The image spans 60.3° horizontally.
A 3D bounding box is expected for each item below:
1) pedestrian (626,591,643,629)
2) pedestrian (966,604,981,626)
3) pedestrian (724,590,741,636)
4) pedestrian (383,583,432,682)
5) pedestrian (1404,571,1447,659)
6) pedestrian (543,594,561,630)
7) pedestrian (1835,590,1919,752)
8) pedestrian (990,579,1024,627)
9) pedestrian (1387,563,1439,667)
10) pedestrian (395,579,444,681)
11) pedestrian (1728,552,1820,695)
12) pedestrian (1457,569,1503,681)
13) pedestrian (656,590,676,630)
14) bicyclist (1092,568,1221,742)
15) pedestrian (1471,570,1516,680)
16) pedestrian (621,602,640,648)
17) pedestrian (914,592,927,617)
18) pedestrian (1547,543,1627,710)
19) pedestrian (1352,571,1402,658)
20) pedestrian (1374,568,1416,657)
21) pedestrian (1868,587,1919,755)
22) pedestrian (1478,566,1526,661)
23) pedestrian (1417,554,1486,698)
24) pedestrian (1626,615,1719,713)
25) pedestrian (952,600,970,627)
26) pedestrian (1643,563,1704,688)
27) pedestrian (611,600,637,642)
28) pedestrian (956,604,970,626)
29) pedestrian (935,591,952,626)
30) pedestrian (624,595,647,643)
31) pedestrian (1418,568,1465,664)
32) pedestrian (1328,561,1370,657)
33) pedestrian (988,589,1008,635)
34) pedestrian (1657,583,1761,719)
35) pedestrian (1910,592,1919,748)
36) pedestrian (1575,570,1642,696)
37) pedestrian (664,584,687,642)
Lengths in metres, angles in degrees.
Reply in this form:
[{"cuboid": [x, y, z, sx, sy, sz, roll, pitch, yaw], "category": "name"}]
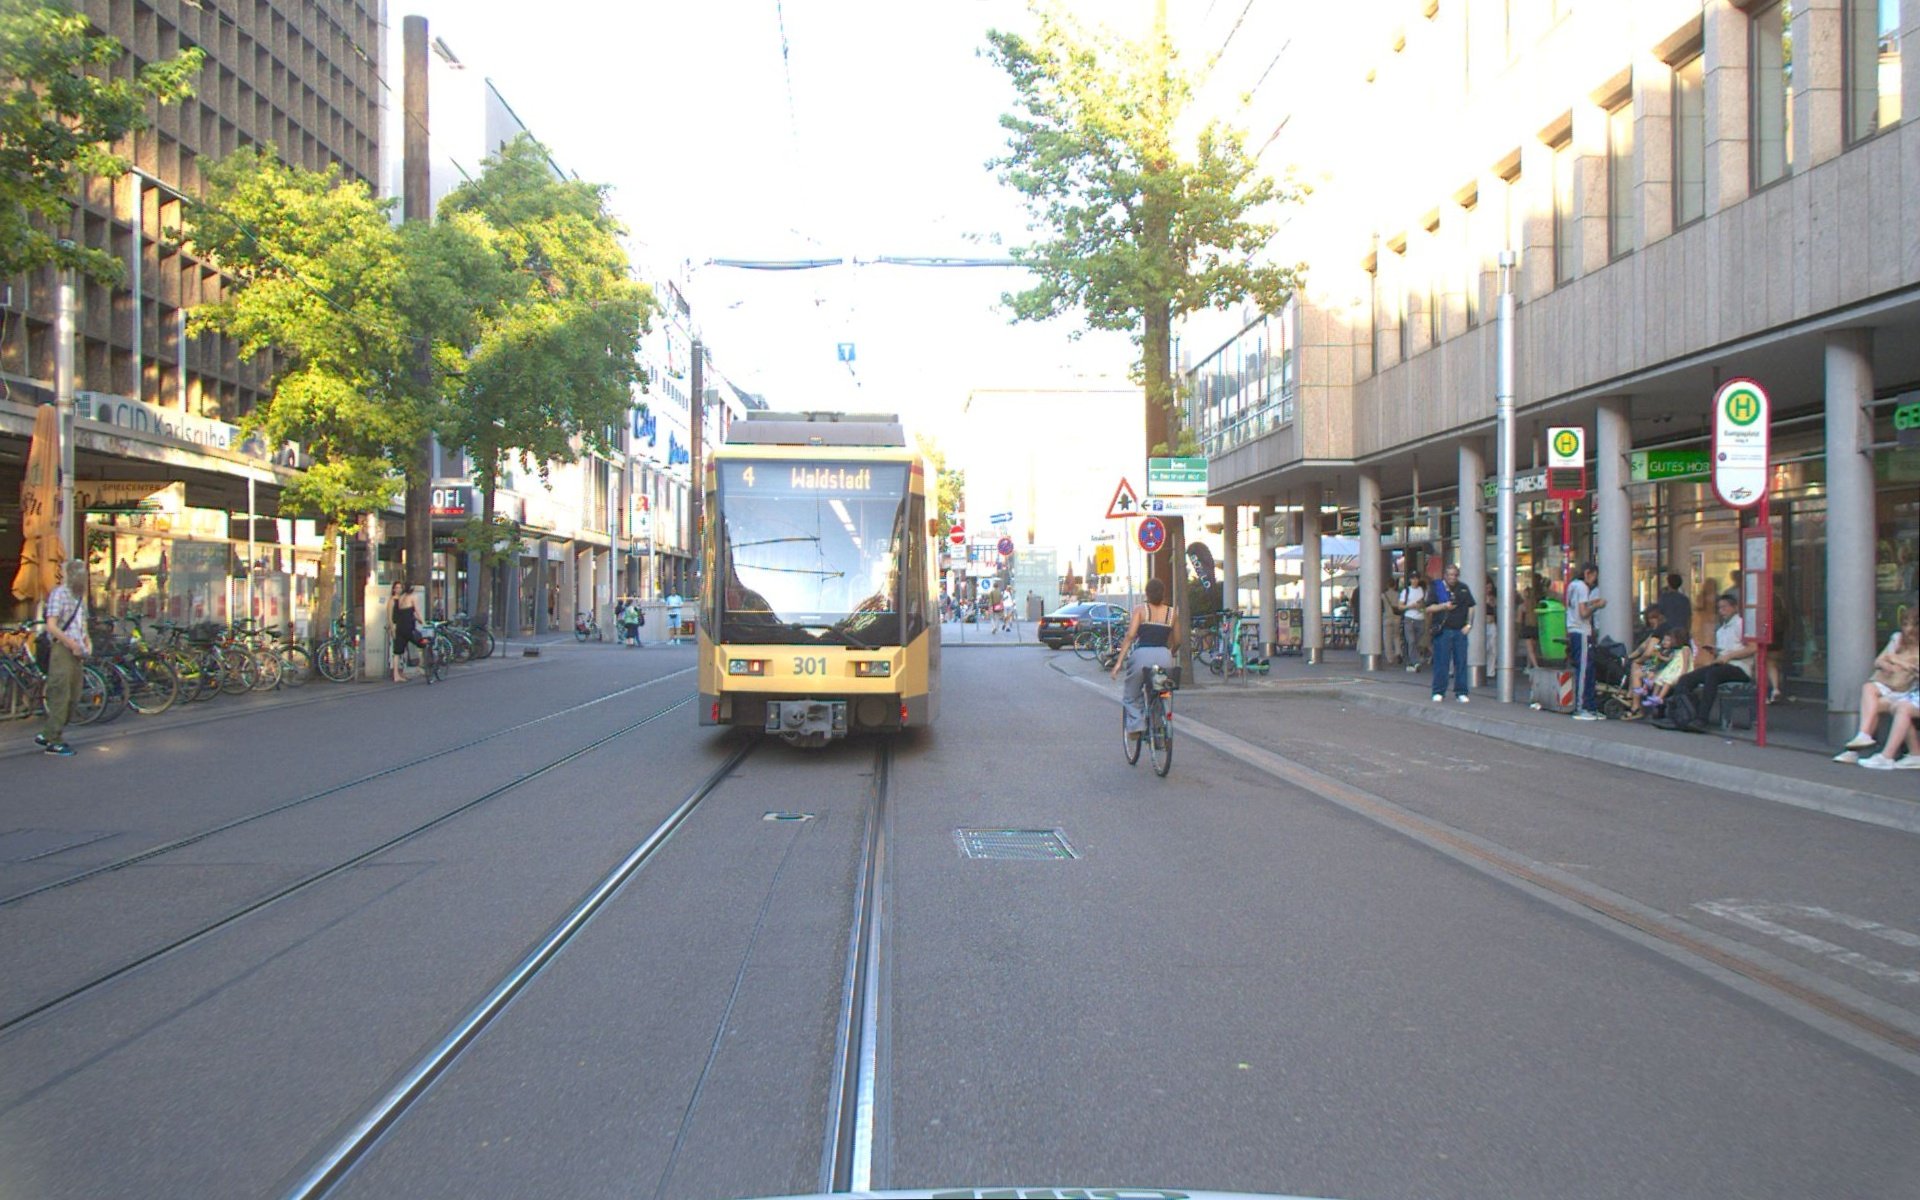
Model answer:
[{"cuboid": [-15.151, 0.459, 77.021, 0.699, 1.756, 0.709, 0, -1, -4], "category": "pedestrian"}, {"cuboid": [0.785, 0.846, 93.684, 0.777, 1.243, 0.768, 0, 0, -6], "category": "pedestrian"}, {"cuboid": [-9.701, 0.561, 70.418, 0.700, 1.959, 0.708, 0, -1, -7], "category": "pedestrian"}, {"cuboid": [-9.738, 0.564, 29.161, 0.589, 1.729, 0.535, 1, 0, 27], "category": "pedestrian"}, {"cuboid": [9.731, 0.317, 34.558, 0.649, 1.818, 0.719, -1, -1, -2], "category": "pedestrian"}, {"cuboid": [-19.568, 0.580, 79.307, 0.699, 1.756, 0.709, 0, -1, -4], "category": "pedestrian"}, {"cuboid": [7.876, 0.592, 13.949, 0.703, 1.337, 0.532, 1, -1, -1], "category": "pedestrian"}, {"cuboid": [1.921, 0.125, 67.531, 1.004, 1.896, 1.031, 1, -1, -32], "category": "pedestrian"}, {"cuboid": [8.303, 0.279, 30.314, 0.655, 1.872, 0.879, -1, -1, -2], "category": "pedestrian"}, {"cuboid": [-9.364, 0.510, 28.684, 0.589, 1.729, 0.535, 1, 0, 27], "category": "pedestrian"}, {"cuboid": [10.492, 0.298, 21.349, 0.757, 1.803, 0.773, -1, -1, -3], "category": "pedestrian"}, {"cuboid": [8.718, 0.416, 27.760, 0.528, 1.838, 0.604, -1, 0, -3], "category": "pedestrian"}, {"cuboid": [-12.962, 0.459, 72.899, 0.595, 1.756, 0.624, -1, -2, 44], "category": "pedestrian"}, {"cuboid": [1.790, 0.490, 15.162, 0.978, 1.528, 0.856, 2, 0, -6], "category": "bicyclist"}, {"cuboid": [9.069, 0.422, 28.130, 0.528, 1.838, 0.604, -1, 0, -3], "category": "pedestrian"}, {"cuboid": [-10.754, 0.818, 54.027, 0.592, 1.520, 0.554, 0, -1, -10], "category": "pedestrian"}, {"cuboid": [-2.613, 0.292, 110.320, 0.750, 1.690, 0.795, 0, 0, 10], "category": "pedestrian"}, {"cuboid": [7.185, 0.297, 18.978, 0.626, 1.872, 0.667, -1, -1, -1], "category": "pedestrian"}, {"cuboid": [8.495, 0.294, 33.695, 0.748, 1.749, 0.923, -1, -1, -1], "category": "pedestrian"}, {"cuboid": [9.044, 0.251, 34.411, 0.649, 1.818, 0.719, -1, -1, -2], "category": "pedestrian"}, {"cuboid": [7.864, 0.569, 13.414, 0.703, 1.337, 0.524, 1, -1, -1], "category": "pedestrian"}, {"cuboid": [10.453, 0.260, 31.904, 0.649, 1.818, 0.719, -1, -1, -2], "category": "pedestrian"}, {"cuboid": [6.528, 0.339, 21.976, 0.655, 1.872, 0.708, -1, -1, -3], "category": "pedestrian"}, {"cuboid": [7.907, 0.700, 18.367, 0.796, 1.061, 0.544, 1, -1, -1], "category": "pedestrian"}, {"cuboid": [0.057, 0.827, 98.690, 0.752, 1.606, 0.794, 0, 0, 27], "category": "pedestrian"}, {"cuboid": [10.294, 0.363, 23.877, 0.559, 1.762, 0.617, -1, 0, -3], "category": "pedestrian"}, {"cuboid": [-11.681, 0.719, 57.489, 0.544, 1.459, 0.682, -1, -1, 36], "category": "pedestrian"}, {"cuboid": [0.166, 0.844, 94.463, 0.777, 1.243, 0.768, 0, 0, -6], "category": "pedestrian"}, {"cuboid": [-0.915, 0.463, 90.470, 0.722, 1.855, 0.816, 0, 0, -17], "category": "pedestrian"}, {"cuboid": [-10.776, 0.632, 54.874, 0.670, 1.569, 0.605, 0, -1, -4], "category": "pedestrian"}, {"cuboid": [9.300, 0.313, 31.955, 0.649, 1.818, 0.719, -1, -1, -2], "category": "pedestrian"}, {"cuboid": [8.413, 0.188, 35.782, 0.672, 2.049, 0.782, -1, 0, -2], "category": "pedestrian"}, {"cuboid": [1.457, 0.470, 63.410, 0.703, 1.756, 0.709, 0, -1, -2], "category": "pedestrian"}, {"cuboid": [7.921, 0.535, 17.513, 0.796, 1.405, 0.662, 1, -1, -1], "category": "pedestrian"}, {"cuboid": [8.597, 0.602, 14.089, 0.703, 1.337, 0.532, 1, -1, -1], "category": "pedestrian"}, {"cuboid": [8.899, 0.441, 22.710, 0.635, 1.690, 0.650, -1, 0, -2], "category": "pedestrian"}, {"cuboid": [-9.755, 0.456, 56.663, 0.759, 1.960, 0.708, 0, -1, -10], "category": "pedestrian"}]
